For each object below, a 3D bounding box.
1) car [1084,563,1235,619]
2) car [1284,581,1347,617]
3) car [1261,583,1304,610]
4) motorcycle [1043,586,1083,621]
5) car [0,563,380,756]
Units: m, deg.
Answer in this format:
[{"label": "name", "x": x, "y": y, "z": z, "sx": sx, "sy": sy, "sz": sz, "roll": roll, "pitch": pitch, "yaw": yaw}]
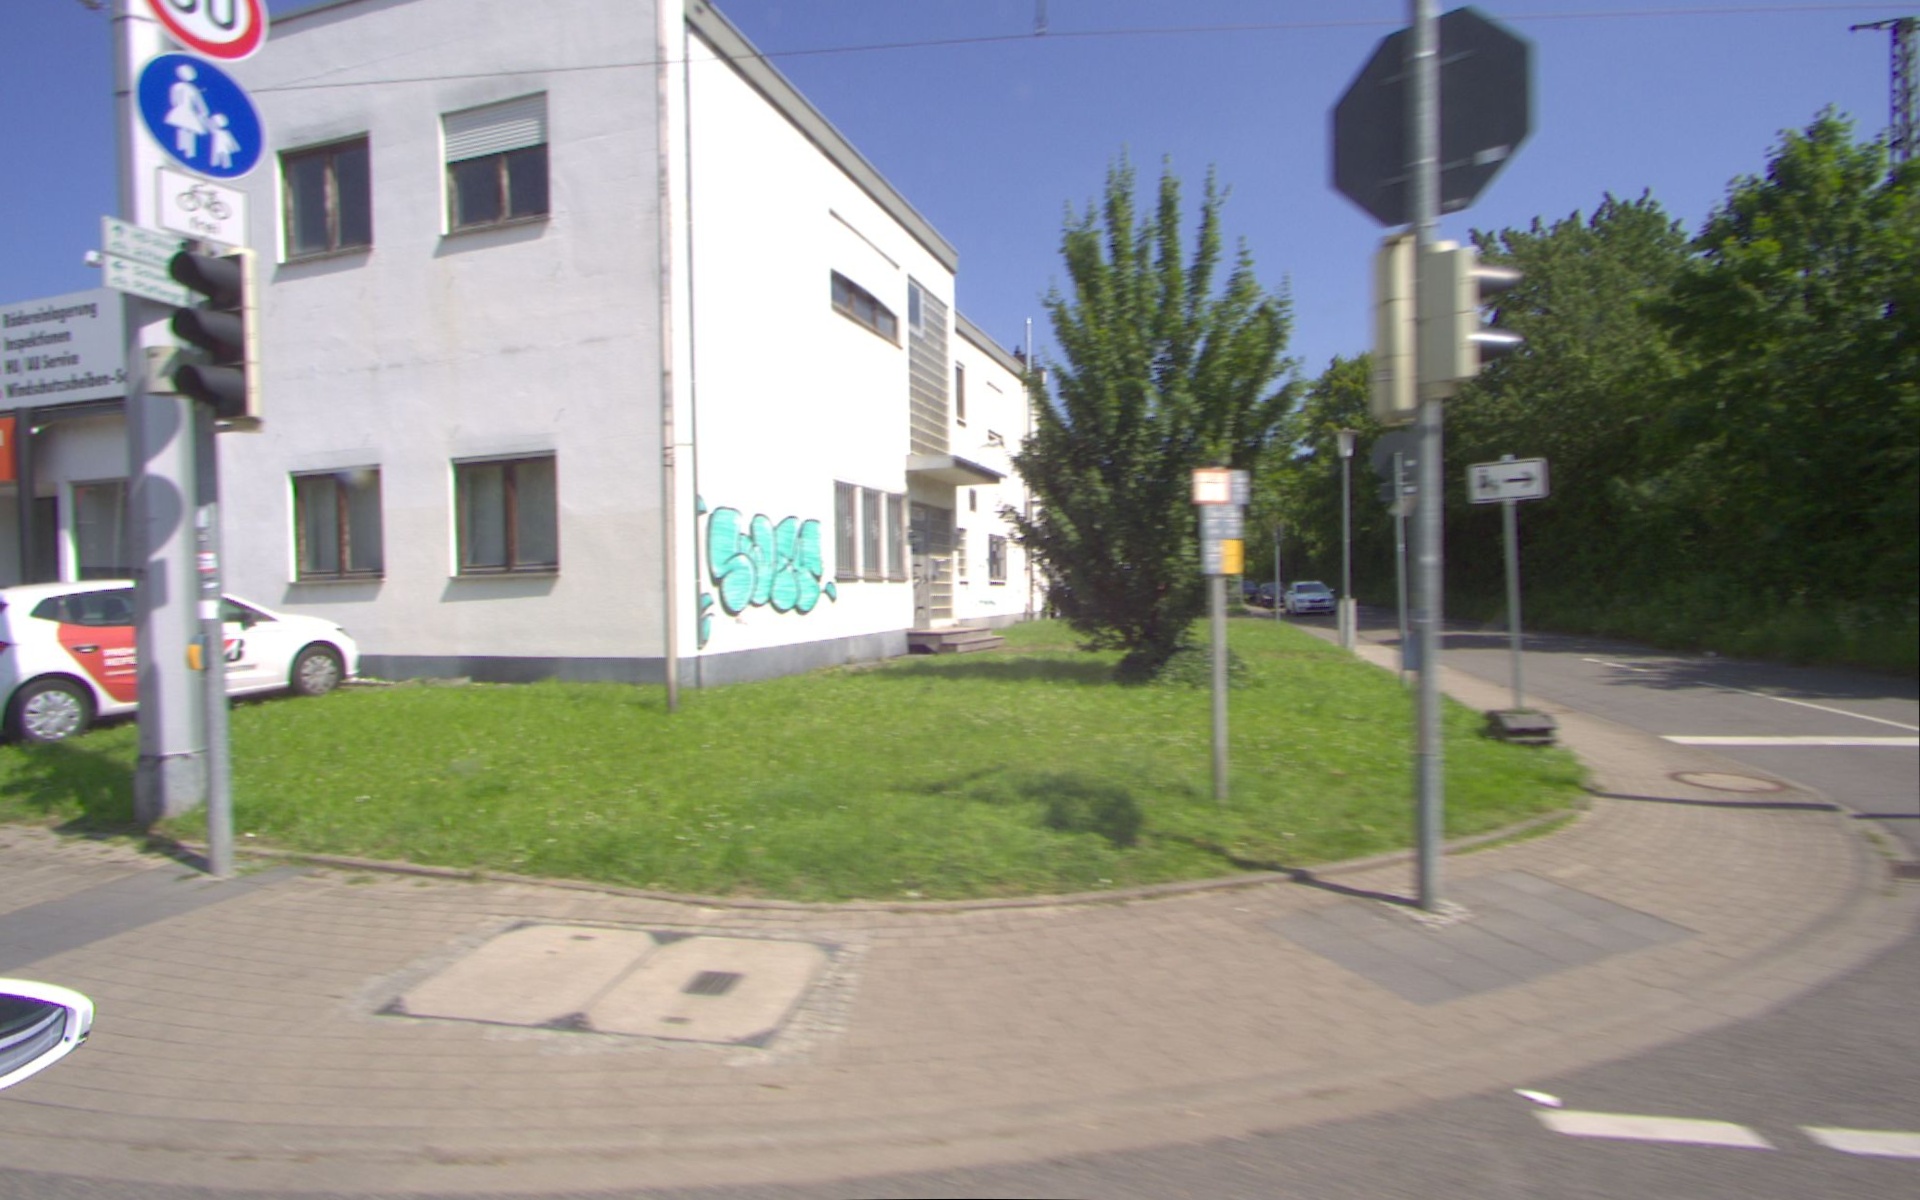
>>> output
[{"label": "car", "x": 7.158, "y": -0.303, "z": 36.115, "sx": 5.166, "sy": 1.840, "sz": 1.998, "roll": -1, "pitch": 1, "yaw": 11}, {"label": "car", "x": 15.929, "y": -0.082, "z": 45.094, "sx": 2.054, "sy": 1.531, "sz": 4.534, "roll": 0, "pitch": 1, "yaw": 12}, {"label": "car", "x": 17.562, "y": -0.209, "z": 54.646, "sx": 1.882, "sy": 1.418, "sz": 3.728, "roll": 1, "pitch": 1, "yaw": 13}, {"label": "motorcycle", "x": 3.283, "y": 0.115, "z": 31.743, "sx": 0.839, "sy": 1.045, "sz": 2.564, "roll": 1, "pitch": 0, "yaw": 15}, {"label": "car", "x": -8.448, "y": 0.454, "z": 10.335, "sx": 1.856, "sy": 1.483, "sz": 3.989, "roll": 0, "pitch": 4, "yaw": 18}]
